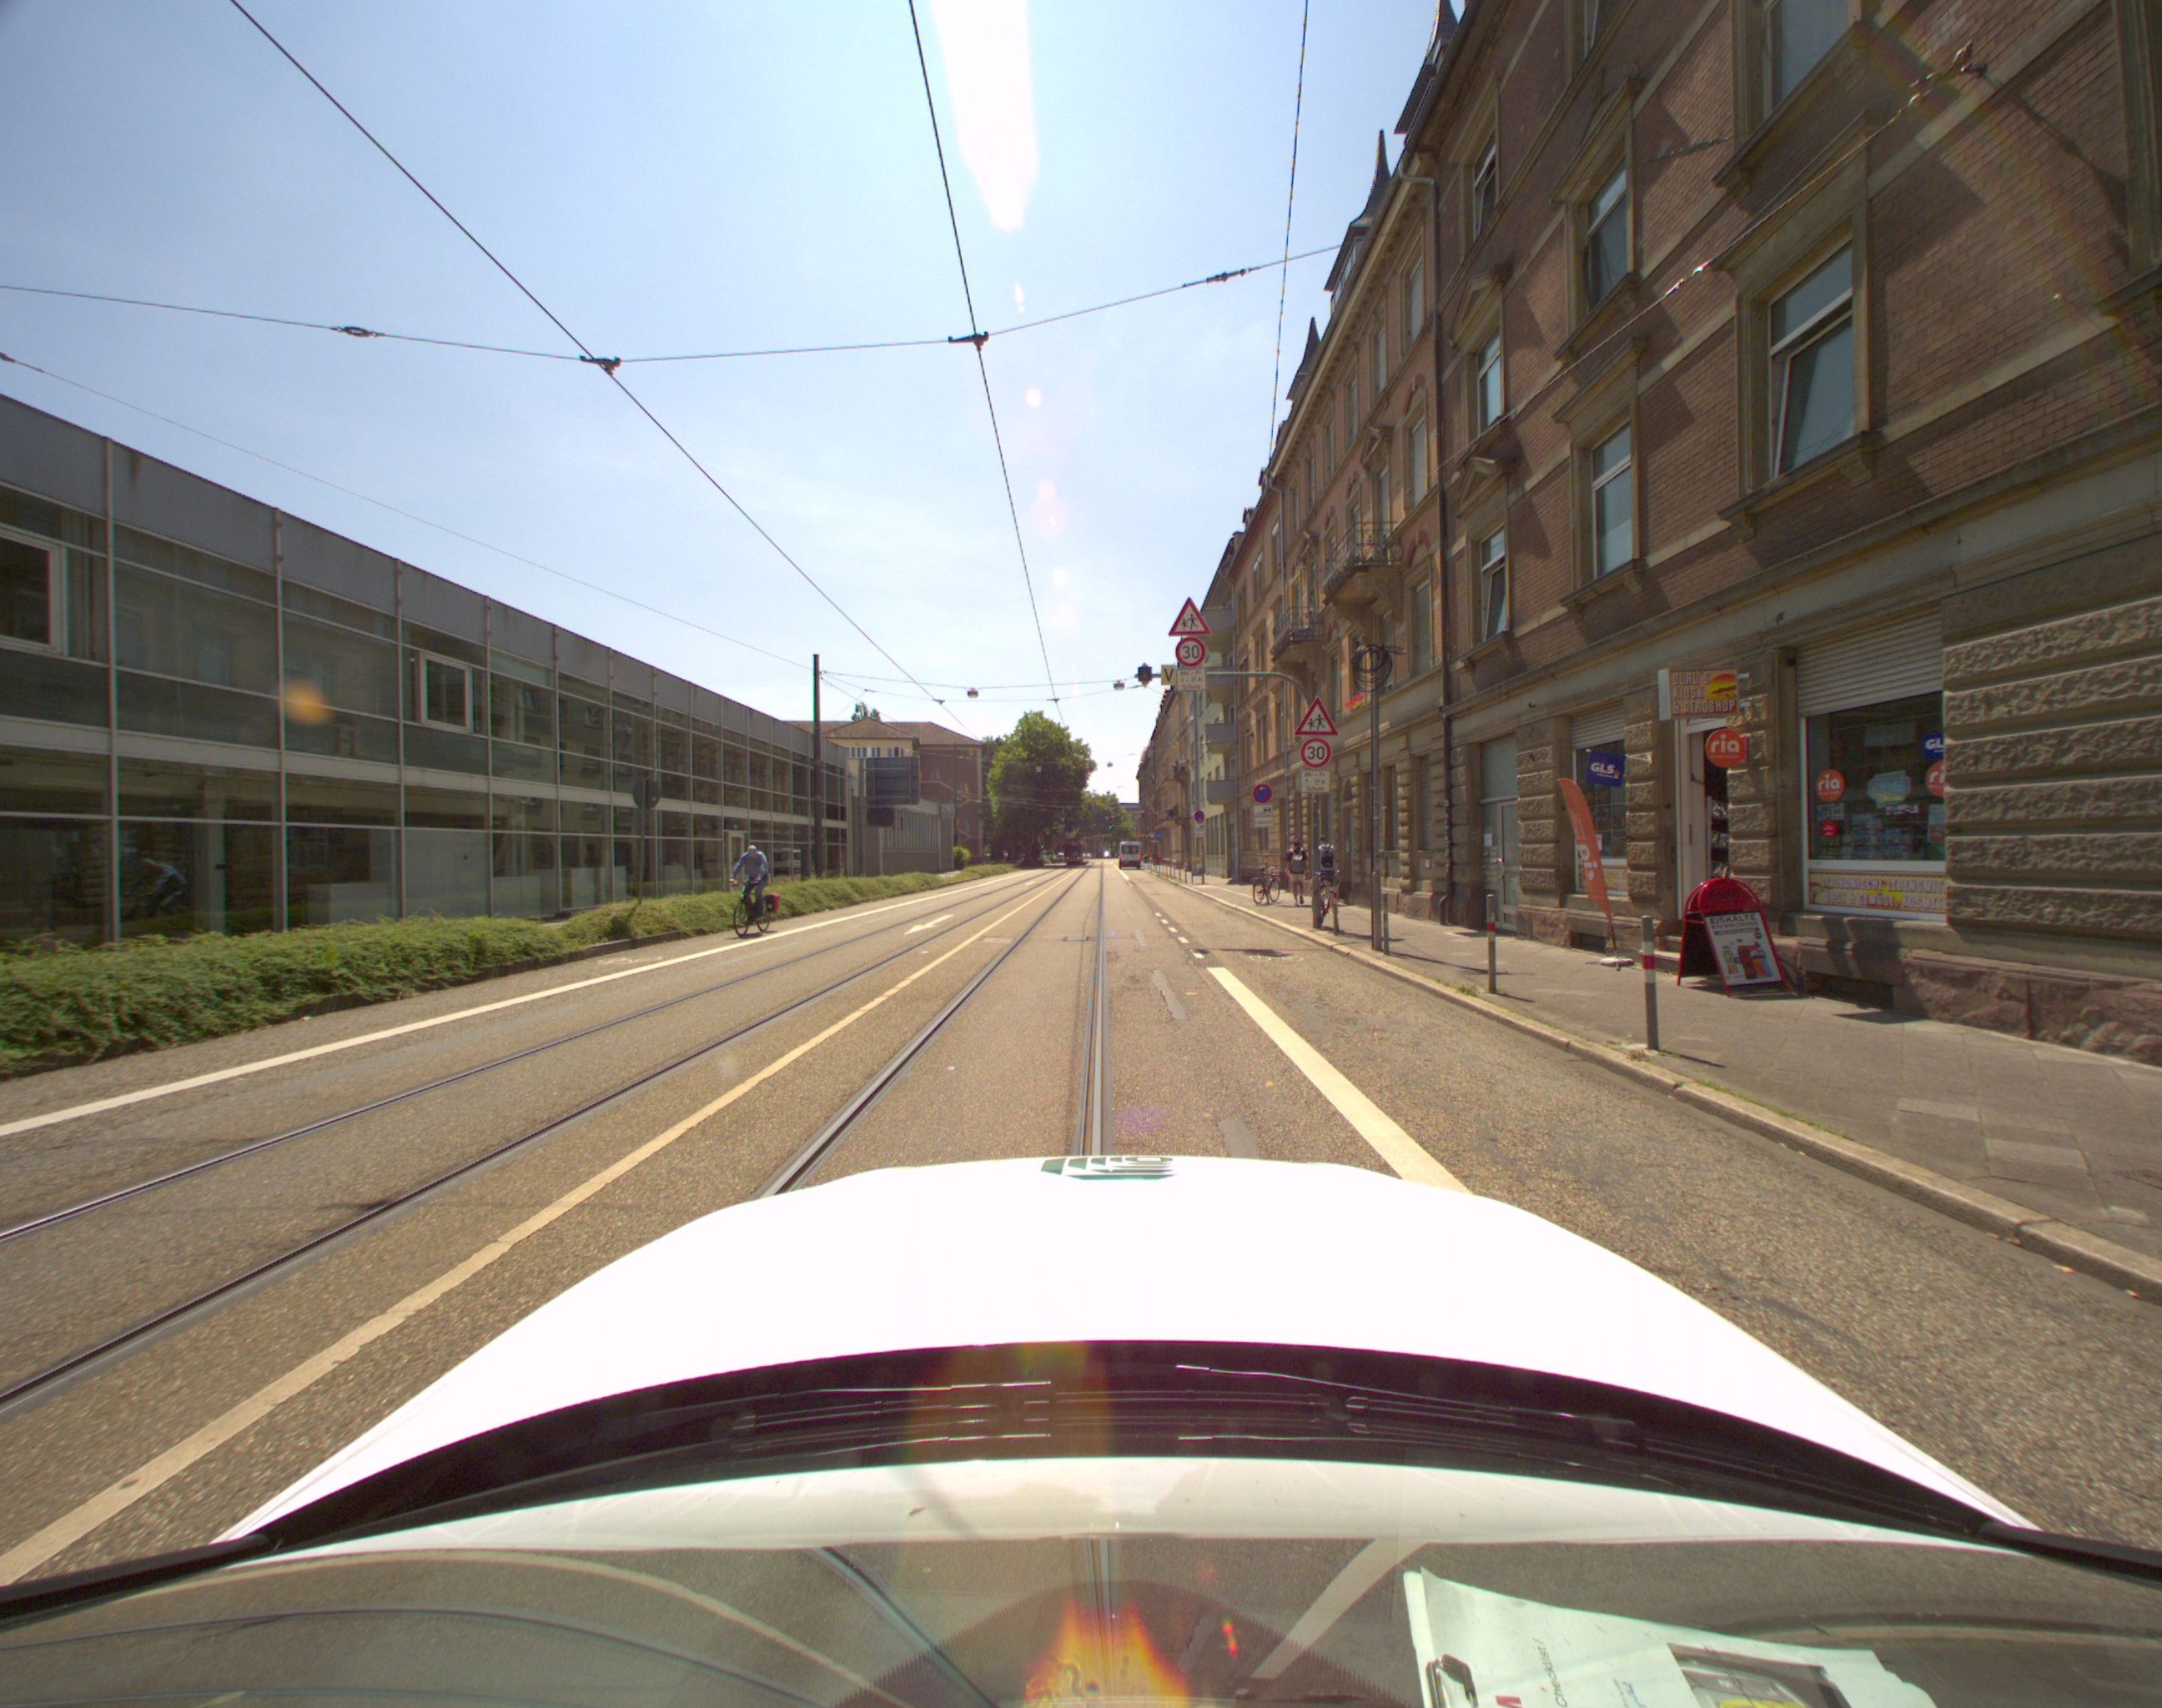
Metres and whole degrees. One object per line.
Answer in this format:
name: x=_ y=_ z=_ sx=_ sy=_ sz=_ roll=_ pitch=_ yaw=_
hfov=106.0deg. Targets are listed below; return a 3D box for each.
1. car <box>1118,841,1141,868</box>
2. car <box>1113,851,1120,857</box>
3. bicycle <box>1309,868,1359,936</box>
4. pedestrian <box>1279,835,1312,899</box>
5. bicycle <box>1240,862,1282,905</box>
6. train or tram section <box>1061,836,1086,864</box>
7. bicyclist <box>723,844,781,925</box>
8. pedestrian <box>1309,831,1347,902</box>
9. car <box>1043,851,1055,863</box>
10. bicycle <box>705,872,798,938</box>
car: x=4.572 y=0.049 z=77.136 sx=2.059 sy=2.501 sz=5.458 roll=0 pitch=0 yaw=3
car: x=9.970 y=0.034 z=228.254 sx=1.669 sy=1.860 sz=3.998 roll=0 pitch=0 yaw=-1
bicycle: x=4.674 y=0.847 z=15.159 sx=0.445 sy=1.097 sz=2.427 roll=-2 pitch=0 yaw=7
pedestrian: x=5.834 y=0.346 z=22.197 sx=0.717 sy=1.720 sz=0.644 roll=-1 pitch=0 yaw=2
bicycle: x=5.179 y=0.818 z=23.344 sx=0.494 sy=1.130 sz=2.257 roll=-2 pitch=0 yaw=30
train or tram section: x=-0.957 y=-0.526 z=112.086 sx=2.950 sy=3.580 sz=13.426 roll=-1 pitch=0 yaw=1
bicyclist: x=-6.587 y=0.592 z=16.340 sx=0.695 sy=1.548 sz=0.981 roll=-2 pitch=0 yaw=3
pedestrian: x=6.672 y=0.333 z=21.988 sx=0.699 sy=1.848 sz=0.644 roll=-5 pitch=0 yaw=2
car: x=-5.027 y=0.457 z=127.361 sx=1.795 sy=1.923 sz=3.999 roll=0 pitch=0 yaw=-1
bicycle: x=-6.570 y=0.981 z=16.402 sx=0.695 sy=1.144 sz=2.498 roll=-2 pitch=0 yaw=4
